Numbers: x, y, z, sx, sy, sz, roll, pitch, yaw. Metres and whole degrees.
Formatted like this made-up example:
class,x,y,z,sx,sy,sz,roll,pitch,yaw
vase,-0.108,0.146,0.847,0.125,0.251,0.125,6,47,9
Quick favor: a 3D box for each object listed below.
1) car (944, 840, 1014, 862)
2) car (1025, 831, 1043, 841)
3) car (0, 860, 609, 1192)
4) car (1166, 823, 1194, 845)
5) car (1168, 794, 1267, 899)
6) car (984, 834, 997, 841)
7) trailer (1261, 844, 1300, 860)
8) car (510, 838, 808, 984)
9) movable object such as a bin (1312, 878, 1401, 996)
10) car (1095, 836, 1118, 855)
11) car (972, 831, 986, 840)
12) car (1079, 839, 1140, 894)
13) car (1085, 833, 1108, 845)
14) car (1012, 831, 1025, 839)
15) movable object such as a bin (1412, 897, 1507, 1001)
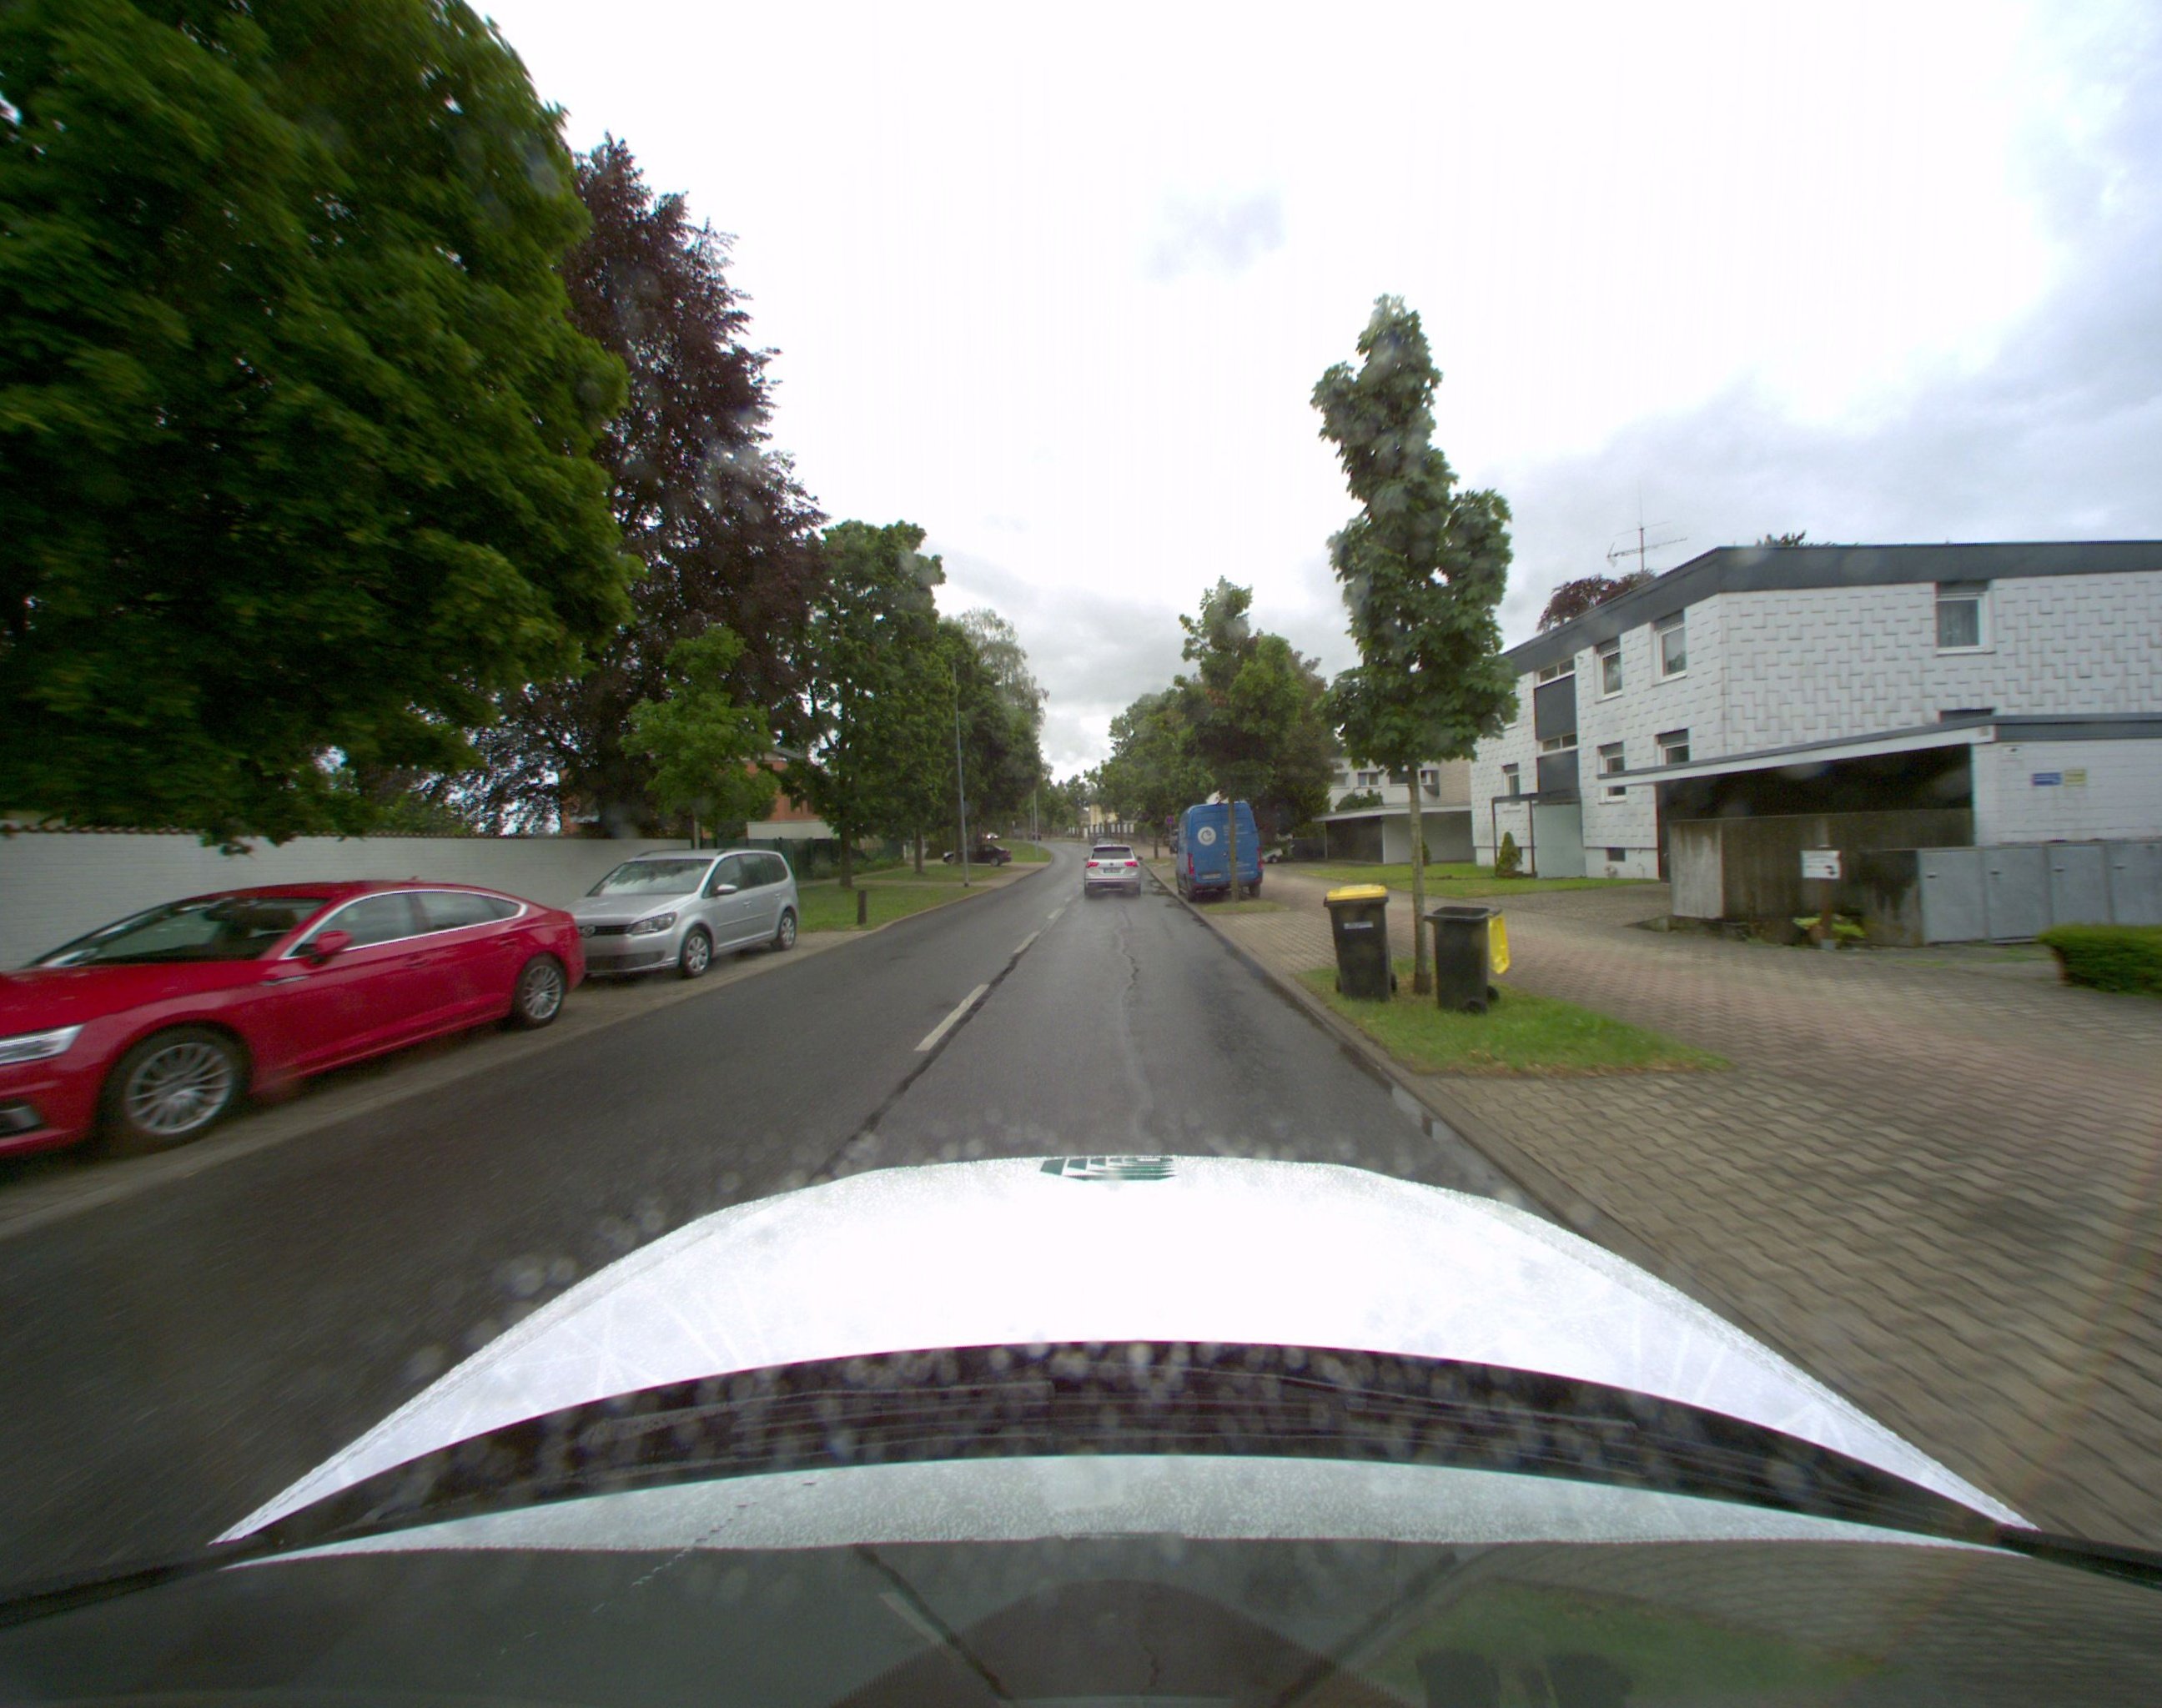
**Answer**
class,x,y,z,sx,sy,sz,roll,pitch,yaw
car,-6.585,-0.207,53.015,4.196,1.362,1.693,-1,1,6
car,-7.518,-2.860,129.580,1.650,1.427,3.970,-1,2,-23
car,-5.807,0.825,5.879,1.986,1.403,4.559,-2,1,2
car,9.625,-1.946,79.258,1.819,1.703,3.997,-11,3,-2
car,3.830,-0.239,23.940,1.986,2.586,5.636,-4,1,2
car,-17.338,-3.206,156.417,1.771,1.427,3.977,-1,2,-17
trailer,11.403,-0.104,46.618,2.032,0.883,1.366,-1,1,5
car,-5.570,0.628,11.480,1.749,1.627,4.236,-2,1,3
movable object such as a bin,2.620,0.777,7.723,0.608,1.015,0.566,-7,-1,27
car,2.287,-0.761,73.005,1.764,1.551,3.997,-2,0,-2
car,-18.480,-3.367,147.731,1.771,1.427,3.977,-1,2,-17
car,0.984,0.357,27.356,1.857,1.650,4.003,-2,1,3
car,1.838,-1.842,98.209,1.646,1.427,3.978,-1,2,-17
car,-11.242,-3.394,145.490,1.645,1.427,3.981,-1,2,-15
movable object such as a bin,3.288,0.813,7.060,0.653,0.800,0.604,-6,-1,27
